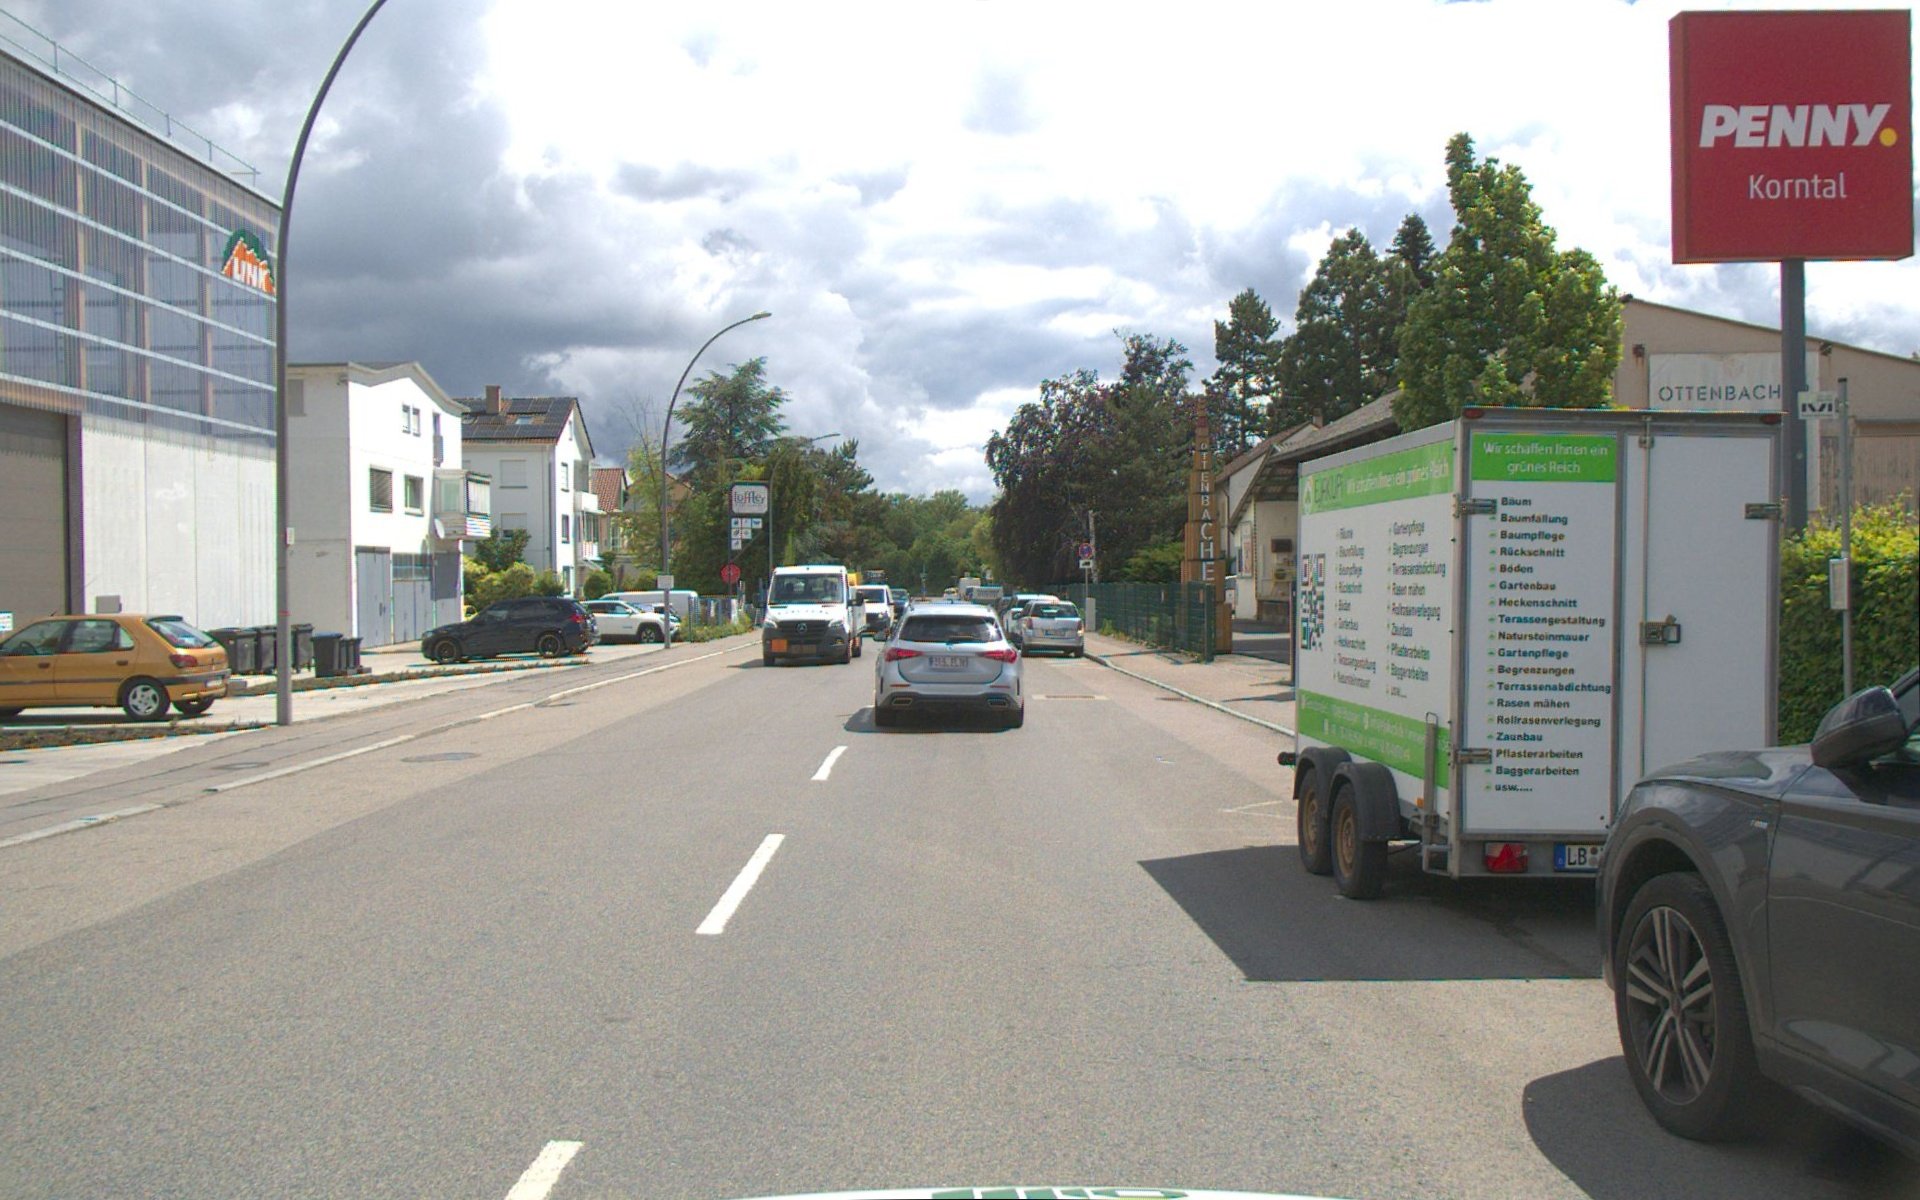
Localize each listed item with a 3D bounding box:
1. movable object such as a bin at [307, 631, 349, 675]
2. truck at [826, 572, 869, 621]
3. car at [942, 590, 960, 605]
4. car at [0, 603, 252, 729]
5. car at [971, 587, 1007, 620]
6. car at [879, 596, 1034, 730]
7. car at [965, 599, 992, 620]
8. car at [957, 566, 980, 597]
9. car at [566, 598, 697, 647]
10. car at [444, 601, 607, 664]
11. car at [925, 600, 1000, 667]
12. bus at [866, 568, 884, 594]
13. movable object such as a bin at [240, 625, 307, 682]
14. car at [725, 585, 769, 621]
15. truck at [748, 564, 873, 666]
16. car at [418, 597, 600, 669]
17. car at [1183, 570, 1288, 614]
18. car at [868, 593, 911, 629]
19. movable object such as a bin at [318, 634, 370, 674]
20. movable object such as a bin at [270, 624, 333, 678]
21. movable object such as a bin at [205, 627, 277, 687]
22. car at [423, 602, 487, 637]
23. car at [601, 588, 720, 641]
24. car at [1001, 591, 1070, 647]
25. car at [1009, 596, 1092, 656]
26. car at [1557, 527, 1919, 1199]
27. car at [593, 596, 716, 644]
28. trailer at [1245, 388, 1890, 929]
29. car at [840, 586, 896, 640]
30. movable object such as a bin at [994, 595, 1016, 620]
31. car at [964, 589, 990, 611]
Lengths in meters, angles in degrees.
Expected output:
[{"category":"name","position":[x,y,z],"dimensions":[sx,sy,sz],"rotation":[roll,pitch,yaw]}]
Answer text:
[{"category":"movable object such as a bin","position":[-15.852,1.321,41.500],"dimensions":[0.728,1.048,0.712],"rotation":[-2,0,1]},{"category":"truck","position":[-6.925,-0.240,102.339],"dimensions":[2.032,2.863,7.078],"rotation":[-2,1,0]},{"category":"car","position":[-0.954,-0.294,173.447],"dimensions":[1.720,1.585,3.999],"rotation":[0,1,-2]},{"category":"car","position":[-11.953,0.850,22.228],"dimensions":[4.068,1.518,1.824],"rotation":[2,0,-5]},{"category":"car","position":[1.815,0.212,104.092],"dimensions":[2.100,2.018,5.260],"rotation":[-1,0,0]},{"category":"car","position":[-0.136,0.728,20.932],"dimensions":[1.749,1.510,4.314],"rotation":[1,0,-3]},{"category":"car","position":[1.363,0.700,124.124],"dimensions":[1.749,1.510,4.314],"rotation":[1,0,-3]},{"category":"car","position":[0.722,-1.562,141.434],"dimensions":[1.749,2.562,4.314],"rotation":[1,0,-3]},{"category":"car","position":[-11.470,0.805,57.993],"dimensions":[4.192,1.594,1.991],"rotation":[-1,-3,-1]},{"category":"car","position":[-12.962,0.955,49.592],"dimensions":[4.374,1.531,1.824],"rotation":[-4,1,-5]},{"category":"car","position":[0.019,0.809,41.992],"dimensions":[1.720,1.585,3.998],"rotation":[0,1,-3]},{"category":"bus","position":[-11.767,-2.629,228.505],"dimensions":[1.955,3.423,6.974],"rotation":[2,0,-6]},{"category":"movable object such as a bin","position":[-17.995,1.395,43.383],"dimensions":[0.937,1.380,1.818],"rotation":[-2,0,1]},{"category":"car","position":[-10.538,0.136,81.958],"dimensions":[1.954,1.686,3.996],"rotation":[-1,1,-5]},{"category":"truck","position":[-3.505,0.306,40.099],"dimensions":[2.271,2.216,6.450],"rotation":[-2,0,1]},{"category":"car","position":[-12.756,0.913,47.054],"dimensions":[4.536,1.661,2.196],"rotation":[-4,1,-5]},{"category":"car","position":[13.702,-0.405,82.430],"dimensions":[4.913,1.963,2.001],"rotation":[-2,0,2]},{"category":"car","position":[-3.607,0.544,85.678],"dimensions":[1.952,1.763,4.549],"rotation":[-2,1,0]},{"category":"movable object such as a bin","position":[-15.867,1.378,42.620],"dimensions":[0.728,0.935,1.519],"rotation":[-2,0,1]},{"category":"movable object such as a bin","position":[-17.999,1.390,45.262],"dimensions":[0.937,1.380,1.818],"rotation":[-1,0,1]},{"category":"movable object such as a bin","position":[-18.020,1.413,41.498],"dimensions":[0.937,1.380,1.818],"rotation":[2,0,1]},{"category":"car","position":[-24.639,0.918,80.811],"dimensions":[1.954,1.571,4.374],"rotation":[-1,1,-3]},{"category":"car","position":[-11.416,0.556,63.290],"dimensions":[4.193,1.868,1.990],"rotation":[-1,-3,-2]},{"category":"car","position":[2.286,0.546,50.898],"dimensions":[1.755,1.579,4.572],"rotation":[-2,1,-2]},{"category":"car","position":[2.415,0.667,45.221],"dimensions":[1.756,1.475,4.361],"rotation":[-2,1,-3]},{"category":"car","position":[3.008,0.628,3.205],"dimensions":[1.903,1.599,4.443],"rotation":[-1,0,-3]},{"category":"car","position":[-11.206,0.744,60.875],"dimensions":[4.193,1.594,1.990],"rotation":[-1,-3,-2]},{"category":"trailer","position":[3.060,0.243,9.489],"dimensions":[1.902,2.334,4.444],"rotation":[-1,0,-2]},{"category":"car","position":[-3.448,0.461,62.815],"dimensions":[1.953,1.921,5.115],"rotation":[-1,1,-2]},{"category":"movable object such as a bin","position":[2.411,0.415,88.797],"dimensions":[1.062,1.293,1.380],"rotation":[1,0,-1]},{"category":"car","position":[1.325,0.012,129.198],"dimensions":[1.749,1.745,4.314],"rotation":[1,0,-3]}]
